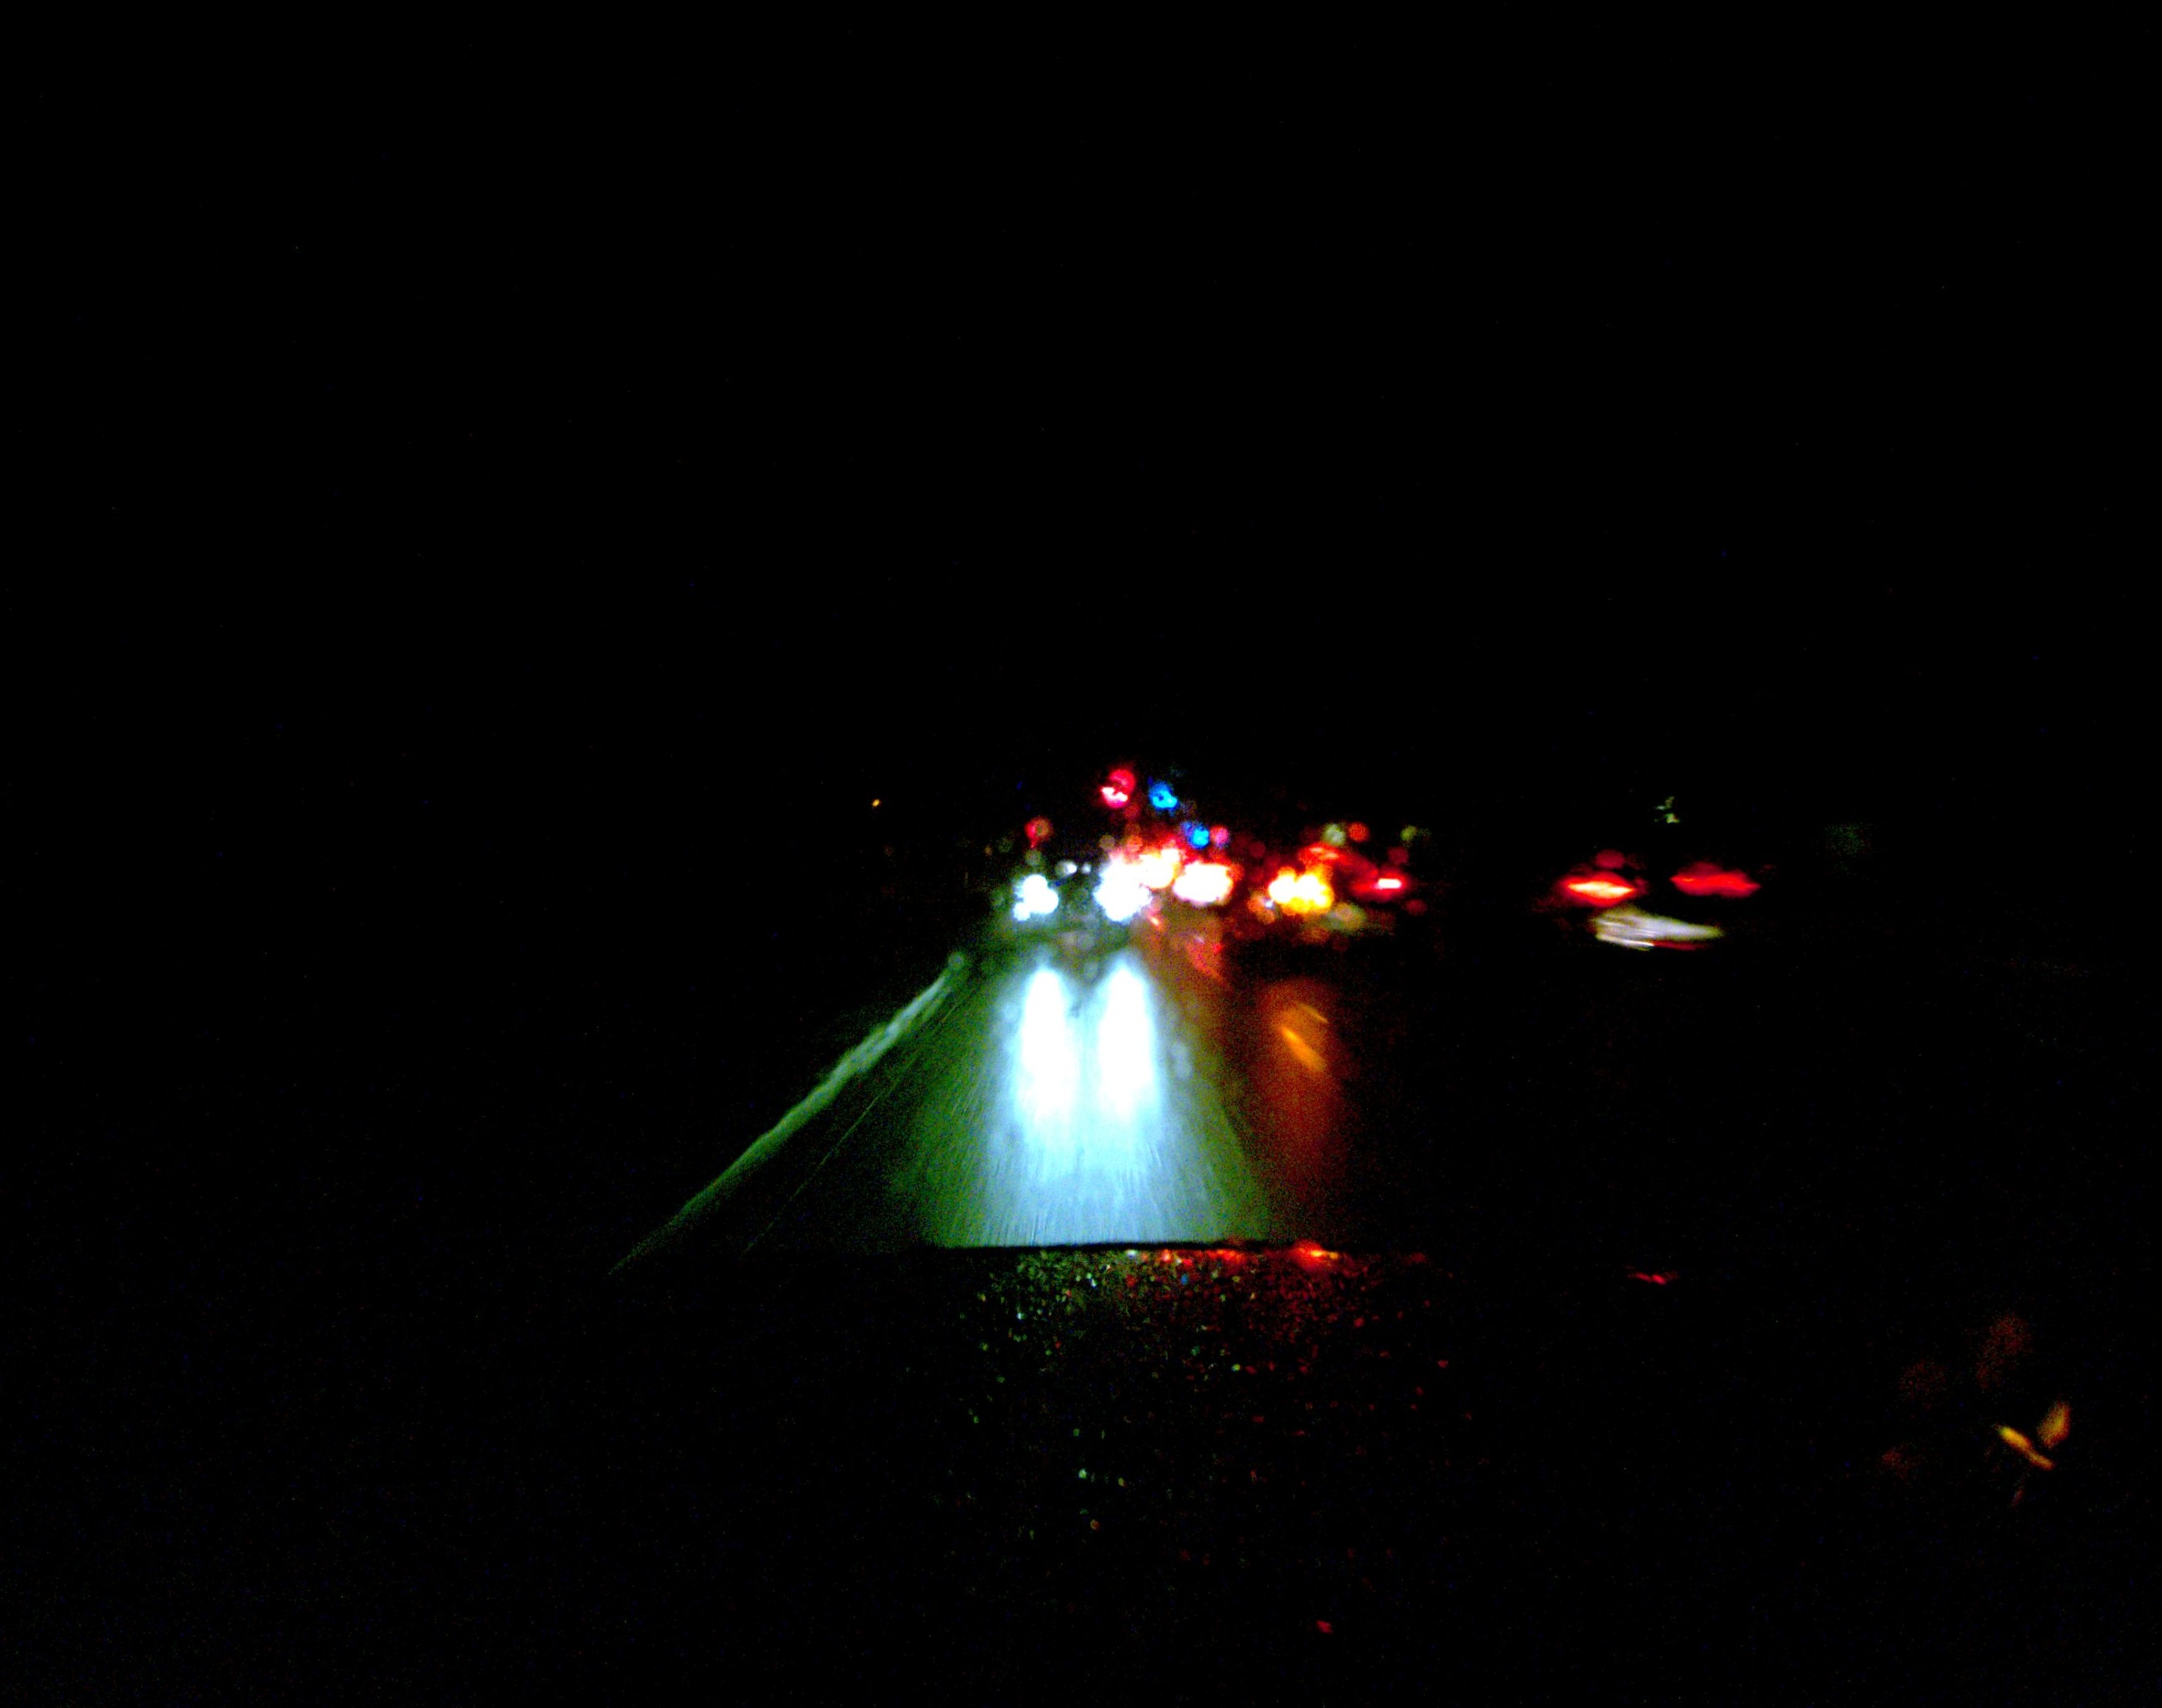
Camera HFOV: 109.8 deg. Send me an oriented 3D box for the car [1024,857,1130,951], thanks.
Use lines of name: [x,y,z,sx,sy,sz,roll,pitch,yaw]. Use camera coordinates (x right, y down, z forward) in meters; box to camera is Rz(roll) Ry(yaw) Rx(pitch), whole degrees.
car: [-0.082,0.878,15.648,1.810,1.590,4.786,-2,0,0]

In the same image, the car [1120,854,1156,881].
car: [3.275,0.779,44.323,1.673,1.464,3.633,-2,0,-1]

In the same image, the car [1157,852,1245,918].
car: [3.170,0.767,20.968,1.848,1.565,4.597,-2,0,3]

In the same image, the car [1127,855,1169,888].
car: [3.291,0.835,38.029,1.626,1.464,3.884,-2,0,-1]

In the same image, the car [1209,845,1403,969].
car: [3.459,0.722,12.602,1.810,1.620,4.415,-2,0,-1]

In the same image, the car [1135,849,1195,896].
car: [3.198,0.674,29.762,1.848,1.659,4.445,-2,0,0]

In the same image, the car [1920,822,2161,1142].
car: [6.221,0.619,2.696,1.724,1.579,4.312,-2,0,1]

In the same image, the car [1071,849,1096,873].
car: [0.226,0.558,62.187,1.759,1.807,4.711,-3,0,3]

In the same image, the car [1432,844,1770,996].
car: [6.266,0.681,9.774,1.724,1.499,3.827,-2,0,1]
